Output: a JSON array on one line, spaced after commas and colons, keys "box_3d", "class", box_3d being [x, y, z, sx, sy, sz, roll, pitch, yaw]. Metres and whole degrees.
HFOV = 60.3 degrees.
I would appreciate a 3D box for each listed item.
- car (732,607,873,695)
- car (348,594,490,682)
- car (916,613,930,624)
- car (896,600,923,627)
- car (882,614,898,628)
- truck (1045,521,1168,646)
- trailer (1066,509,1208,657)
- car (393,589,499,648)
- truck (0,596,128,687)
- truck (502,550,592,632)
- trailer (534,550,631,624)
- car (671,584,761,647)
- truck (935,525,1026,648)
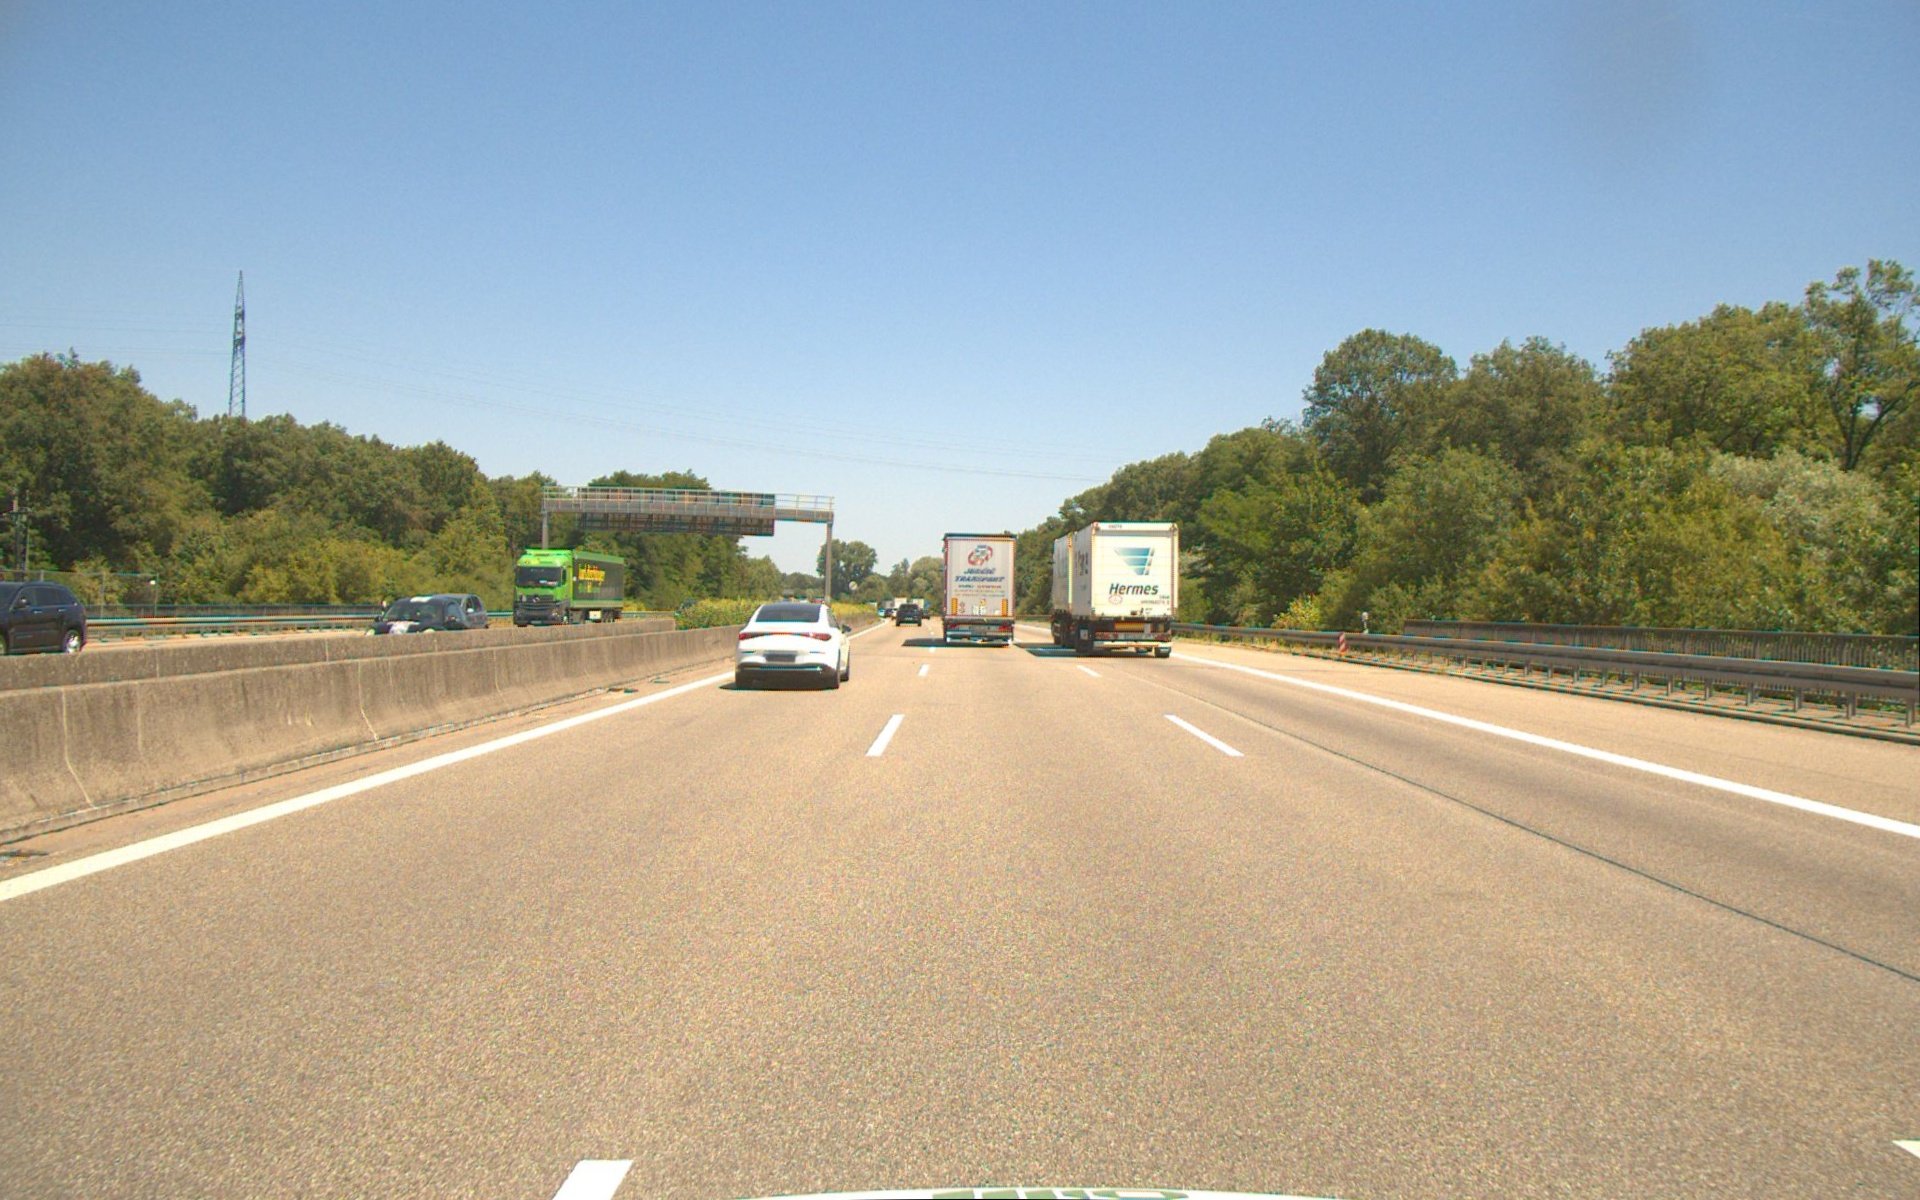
[{"box_3d": [-2.794, 0.865, 30.467, 1.729, 1.474, 5.111, 0, 0, 4], "class": "car"}, {"box_3d": [-12.238, 0.821, 37.682, 1.953, 1.881, 3.999, 0, 0, -1], "class": "car"}, {"box_3d": [-5.419, 2.757, 242.853, 1.953, 1.624, 3.998, 0, 0, -2], "class": "car"}, {"box_3d": [-3.838, 0.995, 126.385, 1.953, 1.907, 4.000, 0, 1, -1], "class": "car"}, {"box_3d": [-8.810, 2.638, 207.797, 1.953, 1.624, 3.998, 0, 0, -2], "class": "car"}, {"box_3d": [5.161, -0.617, 60.445, 3.258, 4.123, 10.951, 0, 1, -1], "class": "truck"}, {"box_3d": [5.356, -0.512, 51.870, 3.299, 4.215, 9.089, 0, 0, -1], "class": "trailer"}, {"box_3d": [-16.007, 0.555, 51.767, 1.959, 1.742, 4.538, 0, 0, -1], "class": "car"}, {"box_3d": [-20.102, 0.825, 35.697, 1.953, 1.832, 4.741, 0, 0, -1], "class": "truck"}, {"box_3d": [-21.109, -0.448, 84.846, 2.862, 4.010, 6.499, 0, 0, 1], "class": "truck"}, {"box_3d": [-21.101, -0.784, 93.259, 2.864, 3.930, 11.866, 0, 1, -1], "class": "trailer"}, {"box_3d": [-8.235, 0.494, 56.337, 2.244, 2.049, 4.711, 0, 0, 1], "class": "car"}, {"box_3d": [0.683, -0.514, 61.976, 3.163, 4.275, 8.465, 0, 1, -1], "class": "truck"}]
